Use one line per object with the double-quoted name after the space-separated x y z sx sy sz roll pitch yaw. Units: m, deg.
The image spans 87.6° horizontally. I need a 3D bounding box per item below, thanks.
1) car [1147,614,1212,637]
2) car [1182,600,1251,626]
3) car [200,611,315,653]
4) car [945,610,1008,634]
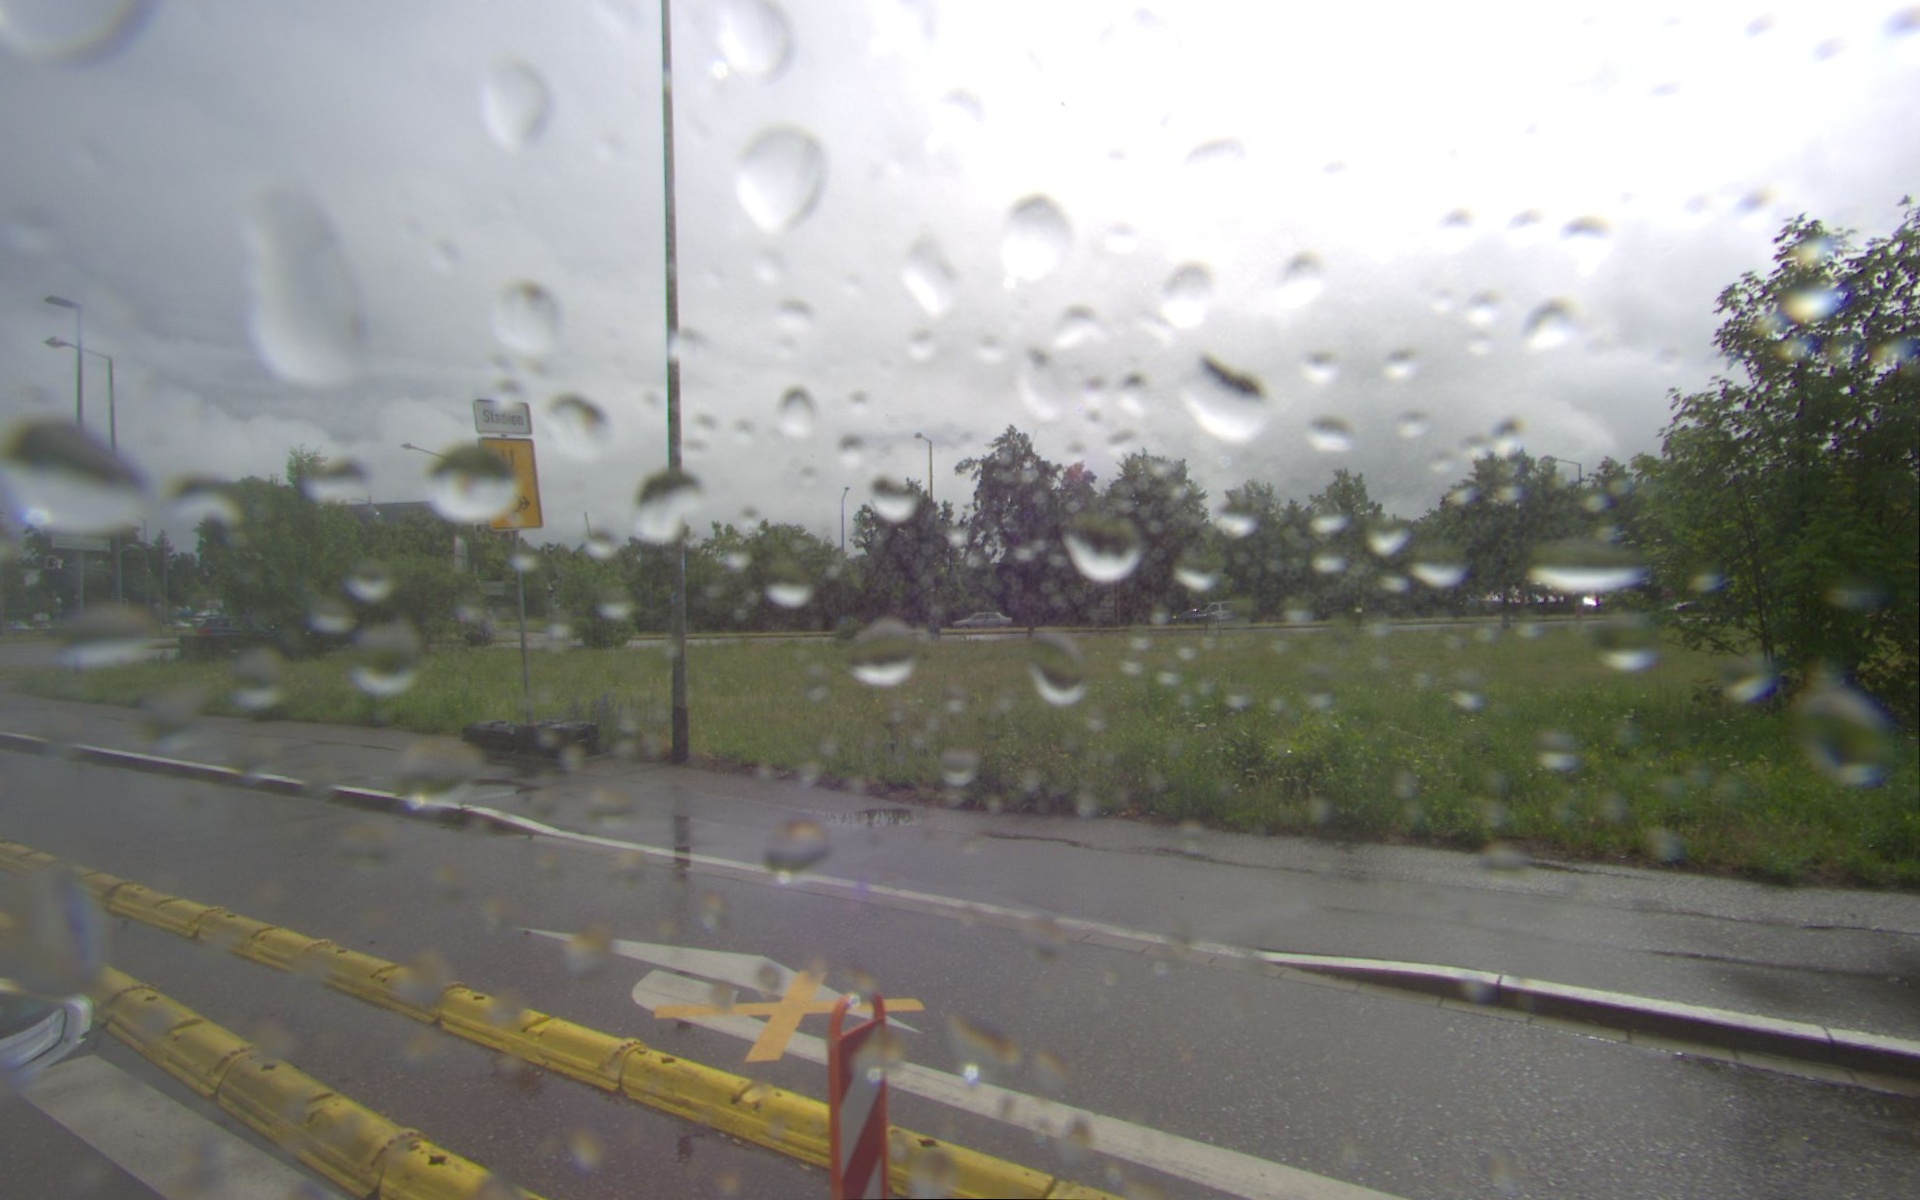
16.008 1.858 73.049 4.227 1.581 1.911 0 0 -15 "car"
20.005 1.009 78.001 4.872 1.944 1.997 0 0 -15 "car"
-29.786 1.325 42.506 3.910 1.666 1.657 1 -1 -40 "car"
1.100 1.511 69.329 4.039 1.581 1.912 0 0 -13 "car"
